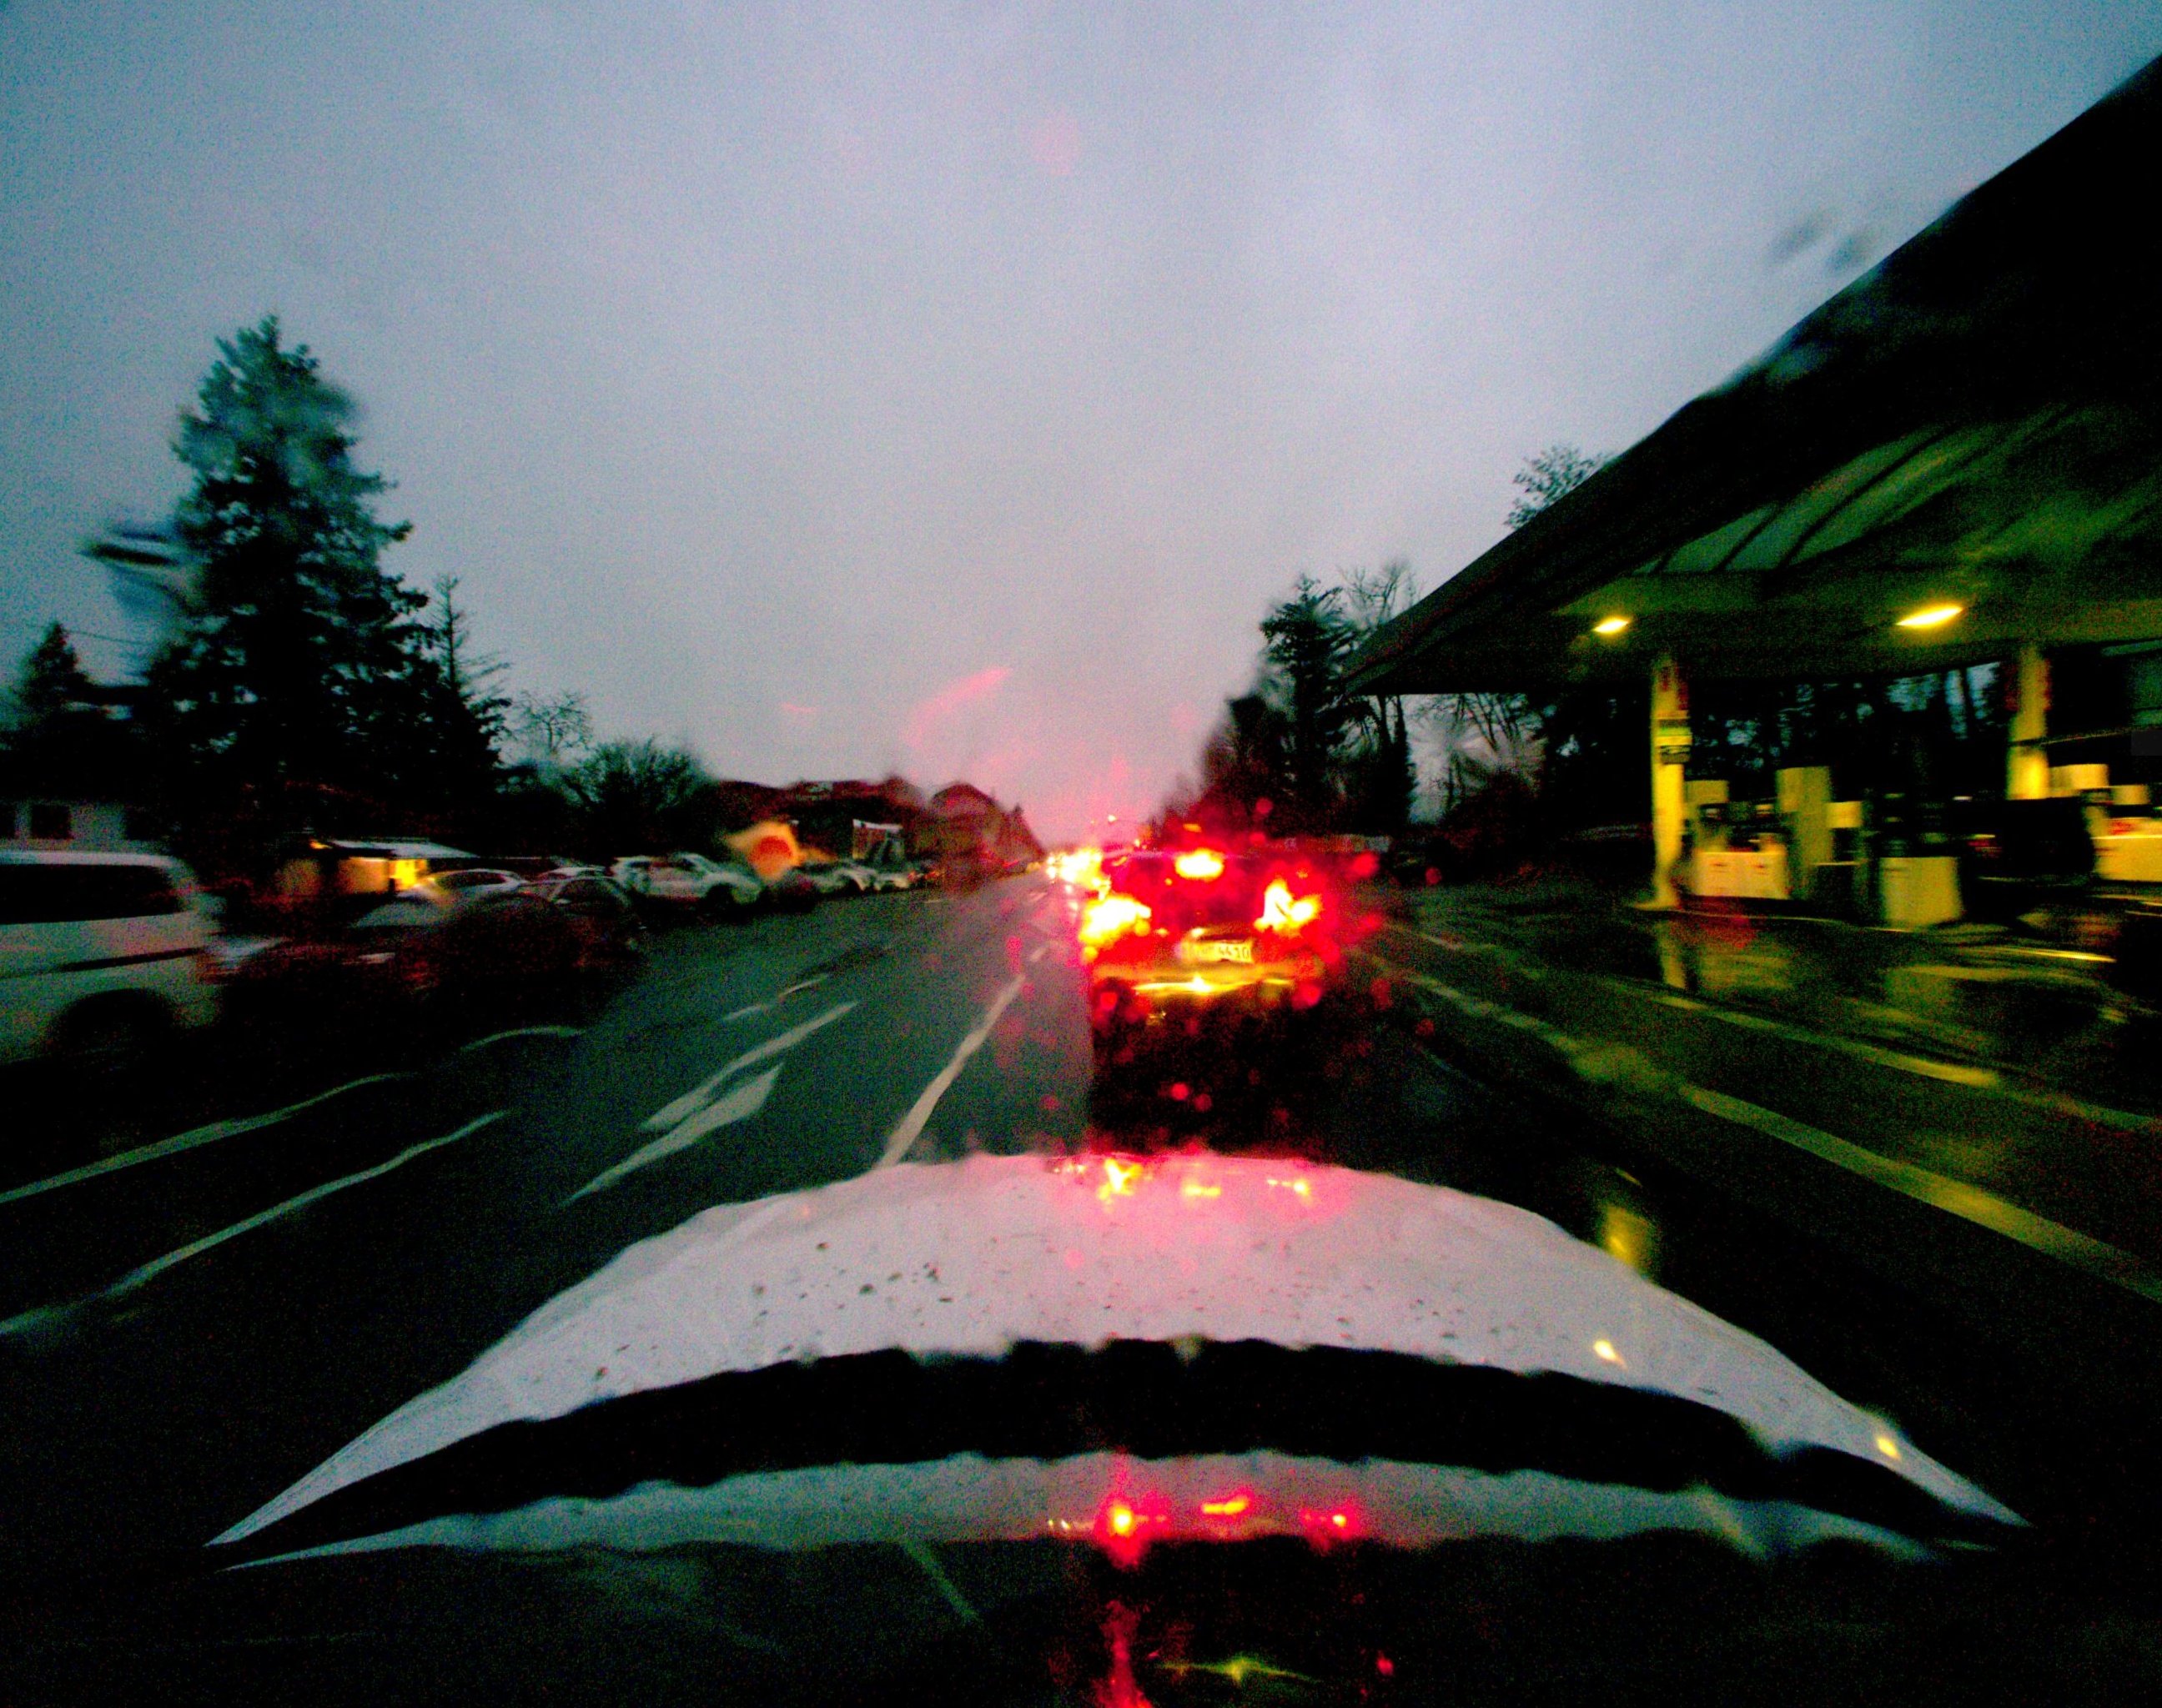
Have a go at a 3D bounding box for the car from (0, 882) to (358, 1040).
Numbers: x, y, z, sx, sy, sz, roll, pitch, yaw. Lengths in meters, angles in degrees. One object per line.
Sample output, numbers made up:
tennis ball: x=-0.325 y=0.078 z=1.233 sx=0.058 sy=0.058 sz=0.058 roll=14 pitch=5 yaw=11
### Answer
car: x=-11.461 y=1.263 z=9.746 sx=3.896 sy=1.477 sz=1.810 roll=-5 pitch=0 yaw=1

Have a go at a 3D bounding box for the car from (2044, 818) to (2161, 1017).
car: x=8.423 y=0.426 z=4.382 sx=1.567 sy=1.396 sz=4.170 roll=-3 pitch=0 yaw=1

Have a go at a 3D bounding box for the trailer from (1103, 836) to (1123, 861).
trailer: x=4.331 y=-0.728 z=112.247 sx=2.479 sy=3.241 sz=10.870 roll=-1 pitch=0 yaw=1

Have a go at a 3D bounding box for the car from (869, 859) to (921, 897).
car: x=-8.488 y=1.078 z=37.380 sx=1.512 sy=1.543 sz=3.016 roll=-3 pitch=0 yaw=1

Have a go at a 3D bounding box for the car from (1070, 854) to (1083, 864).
car: x=-0.791 y=0.948 z=153.987 sx=1.984 sy=1.746 sz=4.005 roll=-4 pitch=0 yaw=5

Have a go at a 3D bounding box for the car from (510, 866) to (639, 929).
car: x=-15.642 y=1.284 z=25.386 sx=1.664 sy=1.676 sz=3.705 roll=-2 pitch=0 yaw=-1

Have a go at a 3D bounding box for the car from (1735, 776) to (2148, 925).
car: x=13.119 y=-0.044 z=12.932 sx=1.986 sy=1.859 sz=4.299 roll=-3 pitch=0 yaw=1

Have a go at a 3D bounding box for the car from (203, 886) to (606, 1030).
car: x=-8.136 y=1.142 z=10.427 sx=1.565 sy=1.321 sz=4.255 roll=-4 pitch=-2 yaw=0

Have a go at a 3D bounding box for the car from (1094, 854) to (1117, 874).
car: x=1.828 y=0.721 z=61.101 sx=1.647 sy=1.336 sz=4.274 roll=-2 pitch=0 yaw=2

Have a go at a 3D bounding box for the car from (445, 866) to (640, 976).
car: x=-9.455 y=1.105 z=14.538 sx=1.164 sy=1.644 sz=2.878 roll=-3 pitch=0 yaw=10

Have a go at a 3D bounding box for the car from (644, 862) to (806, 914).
car: x=-11.473 y=1.079 z=26.420 sx=4.316 sy=1.498 sz=1.997 roll=-2 pitch=0 yaw=4

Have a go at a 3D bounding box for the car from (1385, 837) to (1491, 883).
car: x=13.734 y=0.203 z=31.207 sx=4.508 sy=1.608 sz=1.995 roll=-2 pitch=0 yaw=-42

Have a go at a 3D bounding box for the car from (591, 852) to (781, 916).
car: x=-11.524 y=0.833 z=24.026 sx=4.524 sy=1.676 sz=2.008 roll=-2 pitch=0 yaw=-3

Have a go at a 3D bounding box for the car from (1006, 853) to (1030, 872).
car: x=-6.588 y=0.913 z=85.422 sx=1.963 sy=1.830 sz=4.514 roll=-3 pitch=0 yaw=2

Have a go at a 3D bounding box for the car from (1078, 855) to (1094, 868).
car: x=0.679 y=1.041 z=110.766 sx=2.041 sy=1.573 sz=4.700 roll=-3 pitch=0 yaw=-1

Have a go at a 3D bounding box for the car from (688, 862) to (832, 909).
car: x=-11.282 y=1.089 z=28.799 sx=4.319 sy=1.498 sz=1.826 roll=-2 pitch=0 yaw=1

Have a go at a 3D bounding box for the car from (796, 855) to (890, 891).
car: x=-11.946 y=0.929 z=41.024 sx=4.030 sy=1.650 sz=1.943 roll=-2 pitch=0 yaw=3

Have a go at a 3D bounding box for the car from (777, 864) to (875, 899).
car: x=-11.296 y=1.200 z=36.235 sx=3.761 sy=1.459 sz=1.775 roll=-1 pitch=0 yaw=-2

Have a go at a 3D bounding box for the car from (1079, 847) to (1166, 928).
car: x=0.924 y=0.668 z=18.694 sx=1.701 sy=1.575 sz=4.466 roll=-2 pitch=0 yaw=2

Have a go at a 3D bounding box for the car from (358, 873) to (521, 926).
car: x=-19.929 y=1.355 z=25.427 sx=1.653 sy=1.384 sz=3.646 roll=-2 pitch=0 yaw=35

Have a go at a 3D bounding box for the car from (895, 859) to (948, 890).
car: x=-8.119 y=1.001 z=41.759 sx=1.675 sy=1.421 sz=3.744 roll=-2 pitch=0 yaw=3

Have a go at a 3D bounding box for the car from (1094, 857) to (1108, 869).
car: x=2.500 y=1.150 z=101.169 sx=1.656 sy=1.439 sz=4.383 roll=-1 pitch=0 yaw=1

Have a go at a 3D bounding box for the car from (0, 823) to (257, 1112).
car: x=-8.490 y=0.819 z=5.128 sx=1.827 sy=2.013 sz=4.488 roll=-2 pitch=0 yaw=3

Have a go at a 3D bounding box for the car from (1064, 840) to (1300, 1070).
car: x=0.762 y=0.687 z=7.549 sx=1.559 sy=1.529 sz=4.008 roll=-2 pitch=0 yaw=2

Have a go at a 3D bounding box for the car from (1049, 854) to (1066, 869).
car: x=-2.630 y=0.824 z=92.497 sx=1.597 sy=1.534 sz=4.001 roll=-4 pitch=0 yaw=1

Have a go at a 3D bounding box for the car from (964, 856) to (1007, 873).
car: x=-9.937 y=1.094 z=85.018 sx=4.261 sy=1.627 sz=2.001 roll=1 pitch=0 yaw=1
